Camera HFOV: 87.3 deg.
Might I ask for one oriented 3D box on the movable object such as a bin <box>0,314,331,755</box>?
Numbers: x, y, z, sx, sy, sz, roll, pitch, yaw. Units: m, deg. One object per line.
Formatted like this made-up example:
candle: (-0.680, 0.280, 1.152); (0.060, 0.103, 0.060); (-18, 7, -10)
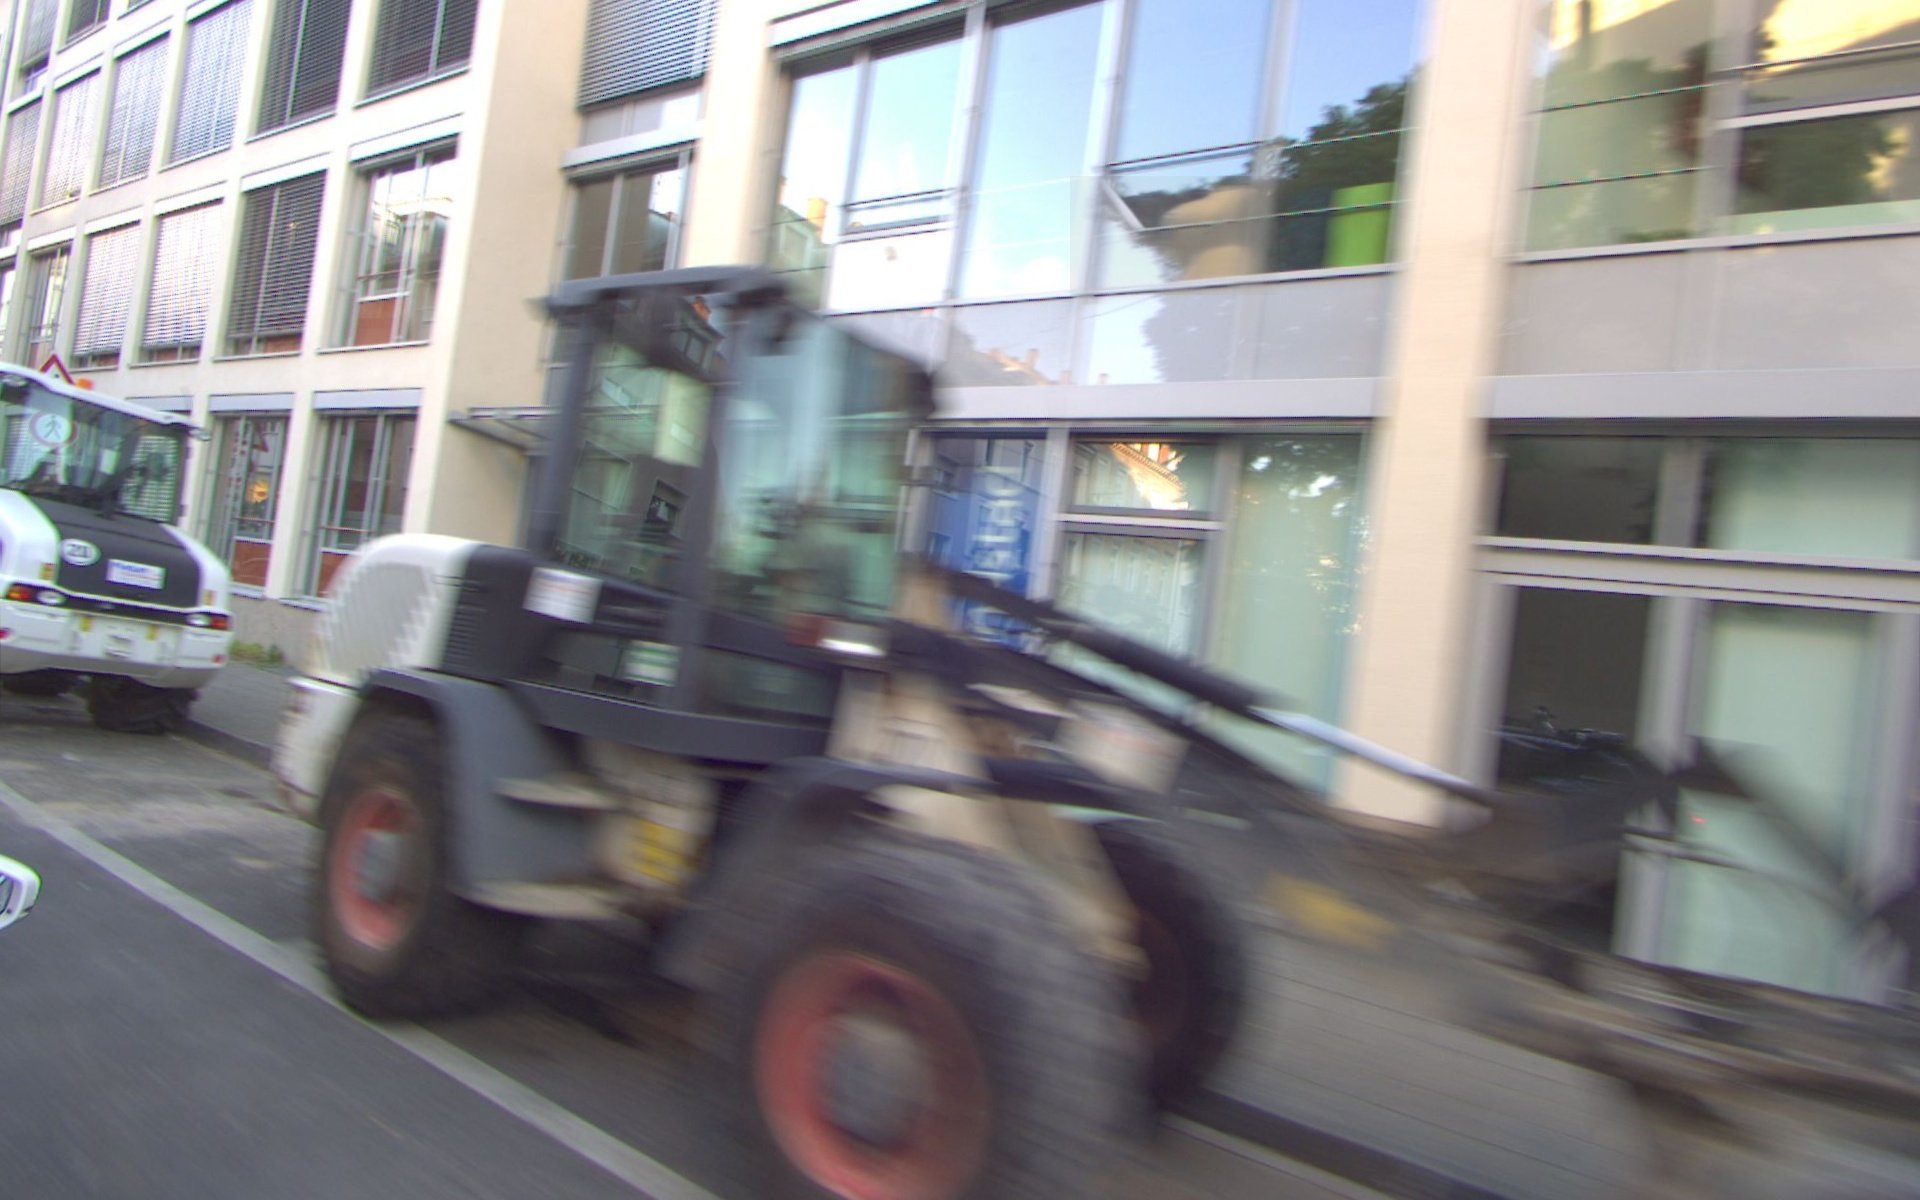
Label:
movable object such as a bin: (-7.733, -0.542, 8.045); (5.452, 2.625, 2.171); (6, -3, 32)

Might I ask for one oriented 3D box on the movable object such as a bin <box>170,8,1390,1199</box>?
movable object such as a bin: (-0.885, 0.163, 3.709); (4.045, 2.664, 1.799); (6, -2, 34)
